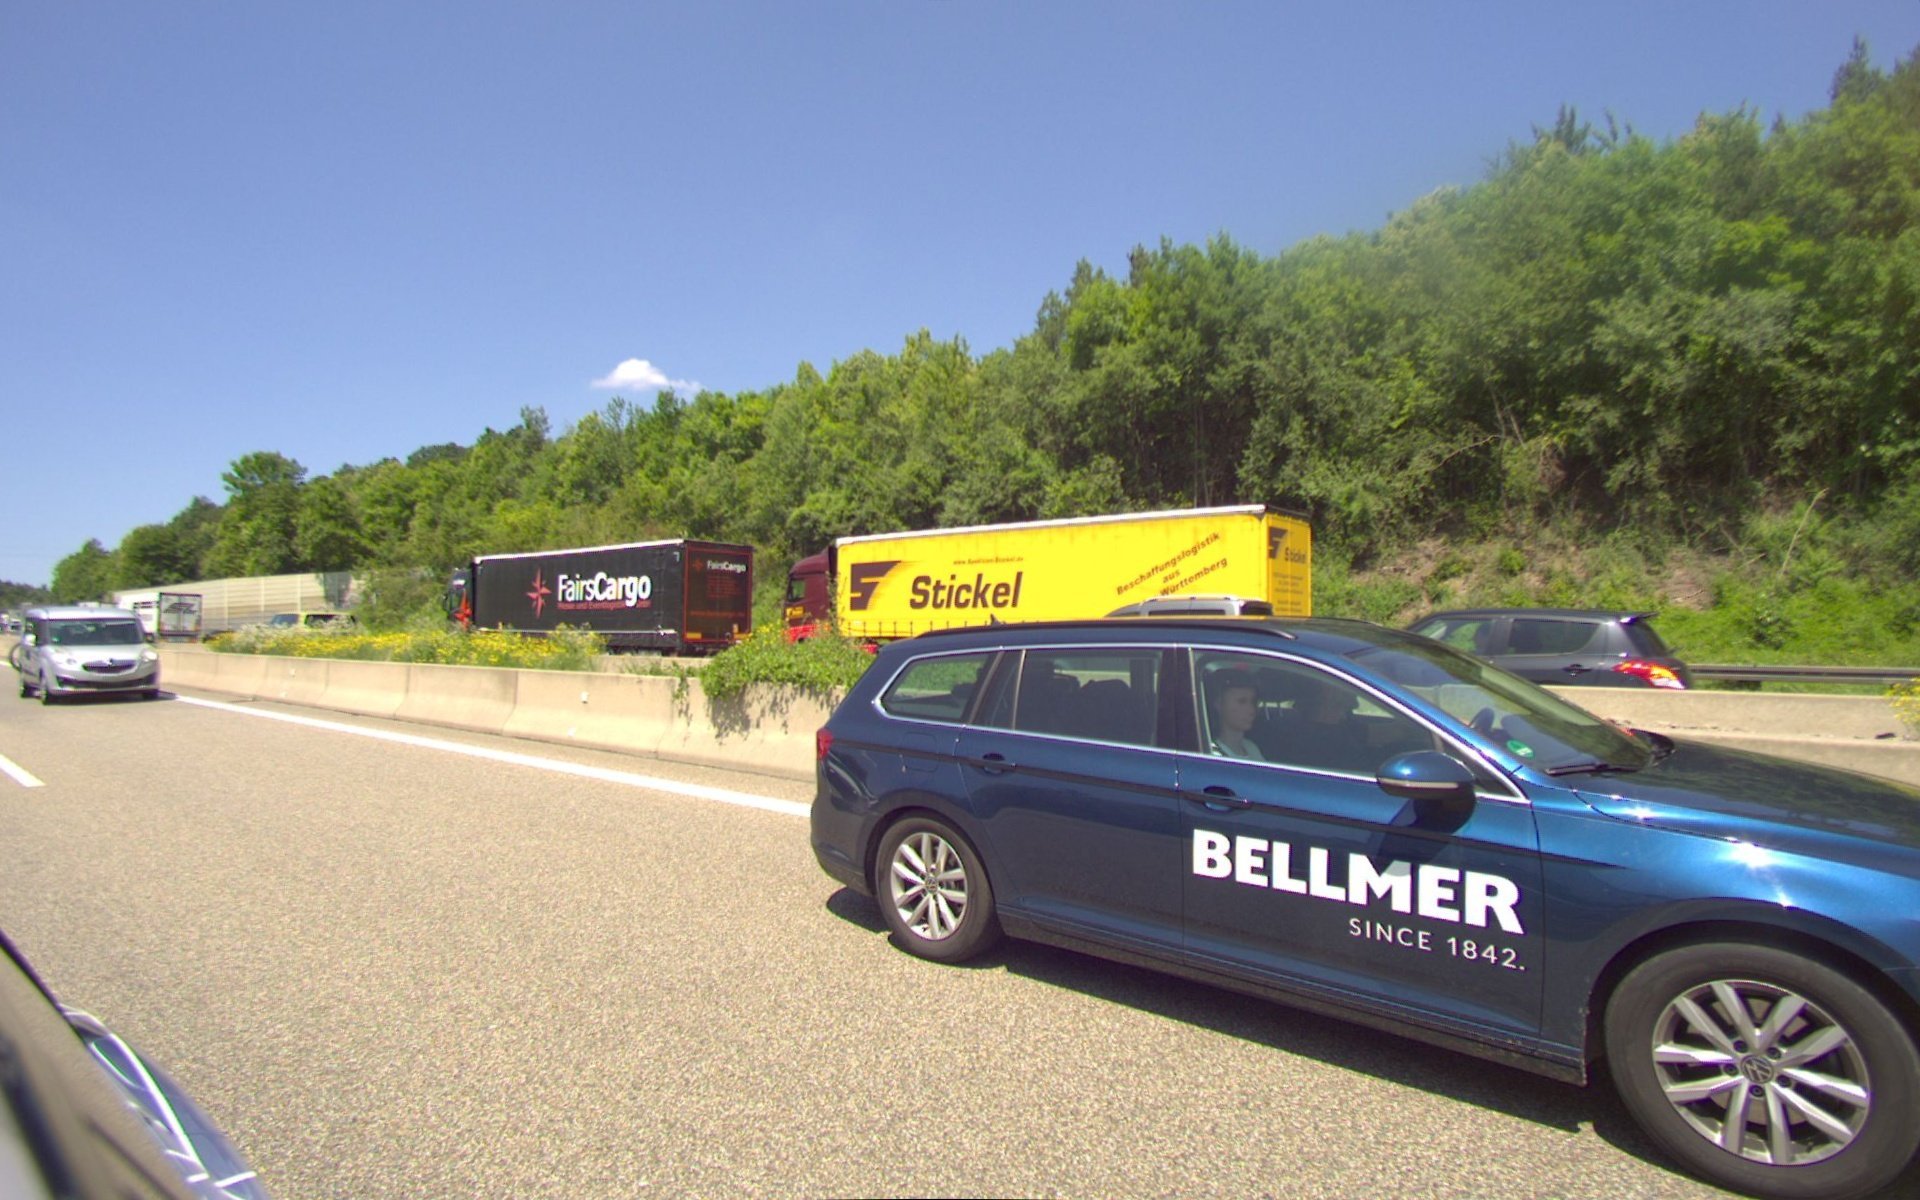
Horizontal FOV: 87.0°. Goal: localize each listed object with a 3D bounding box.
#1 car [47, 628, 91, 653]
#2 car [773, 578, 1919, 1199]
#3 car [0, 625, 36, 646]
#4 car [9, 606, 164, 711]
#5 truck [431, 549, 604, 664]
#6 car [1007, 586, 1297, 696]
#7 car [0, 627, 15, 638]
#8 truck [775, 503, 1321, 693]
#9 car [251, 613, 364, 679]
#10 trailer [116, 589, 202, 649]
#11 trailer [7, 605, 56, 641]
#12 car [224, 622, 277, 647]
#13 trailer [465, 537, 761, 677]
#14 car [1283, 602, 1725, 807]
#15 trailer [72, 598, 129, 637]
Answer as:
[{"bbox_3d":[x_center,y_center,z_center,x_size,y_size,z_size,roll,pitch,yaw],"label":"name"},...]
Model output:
[{"bbox_3d":[-55.957,2.558,63.534,3.997,1.530,1.547,-2,-3,41],"label":"car"},{"bbox_3d":[1.461,0.732,3.879,4.727,1.438,1.714,-1,-3,41],"label":"car"},{"bbox_3d":[-80.755,3.030,86.680,4.785,1.769,1.864,-2,-1,41],"label":"car"},{"bbox_3d":[-17.315,1.091,20.009,3.998,1.858,1.757,-1,-2,41],"label":"car"},{"bbox_3d":[-17.015,0.317,38.649,7.764,4.004,2.876,-1,-3,41],"label":"truck"},{"bbox_3d":[3.019,0.644,16.529,4.420,1.570,1.667,-1,-3,41],"label":"car"},{"bbox_3d":[-171.574,5.812,181.966,3.998,2.029,1.973,-2,-1,41],"label":"car"},{"bbox_3d":[1.324,0.045,27.833,16.255,4.013,3.006,0,-2,41],"label":"truck"},{"bbox_3d":[-21.504,1.491,33.294,4.466,2.029,1.860,-1,-4,41],"label":"car"},{"bbox_3d":[-62.552,1.455,78.836,14.032,4.371,2.773,-1,-2,42],"label":"trailer"},{"bbox_3d":[-114.281,2.757,124.477,14.733,4.197,2.805,-1,-3,42],"label":"trailer"},{"bbox_3d":[-41.158,2.000,58.672,3.997,1.377,1.547,-2,-3,41],"label":"car"},{"bbox_3d":[-12.342,0.303,34.575,13.880,4.004,2.876,-1,-3,41],"label":"trailer"},{"bbox_3d":[5.196,0.882,9.885,3.541,1.639,1.625,-1,-3,41],"label":"car"},{"bbox_3d":[-95.316,1.946,112.123,12.619,4.078,2.778,-1,-3,41],"label":"trailer"}]
